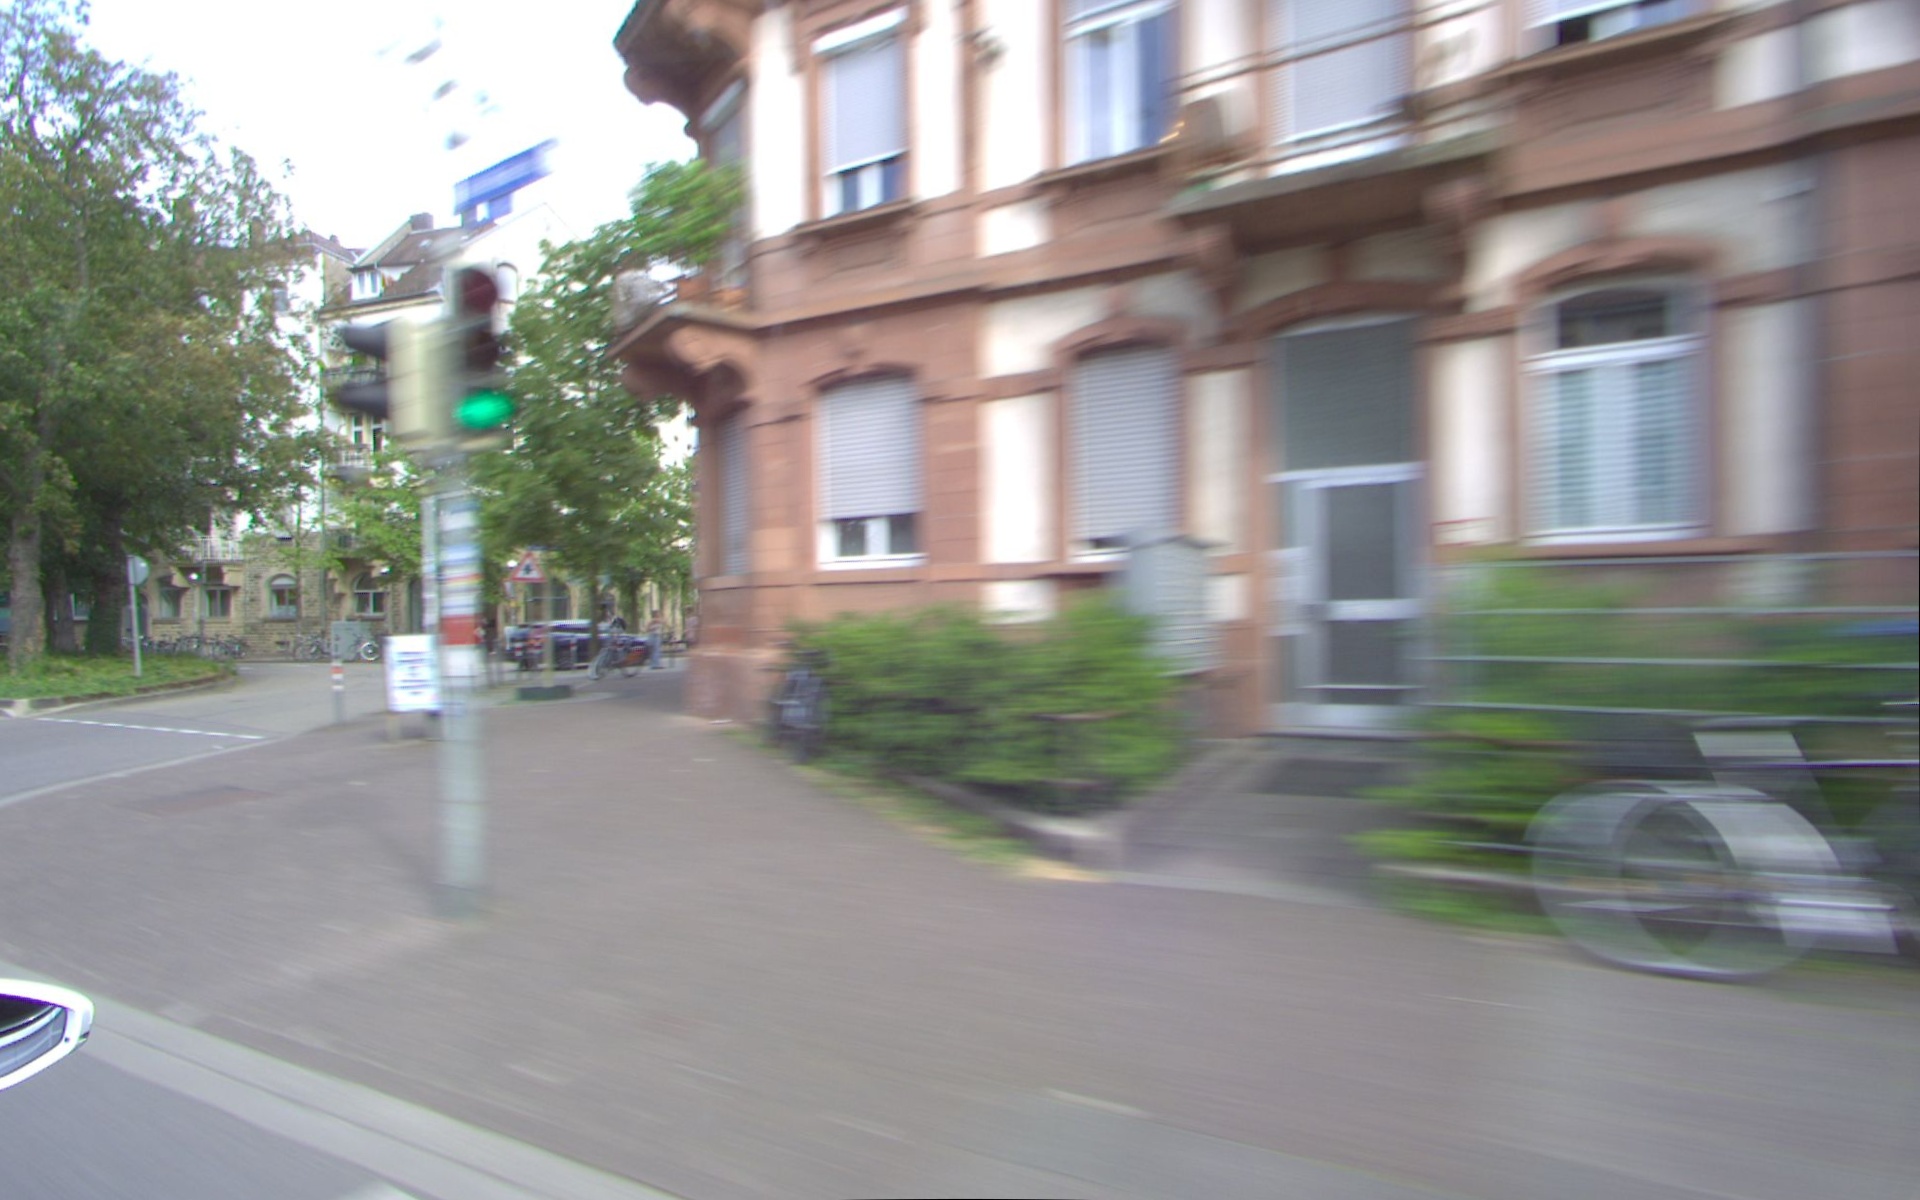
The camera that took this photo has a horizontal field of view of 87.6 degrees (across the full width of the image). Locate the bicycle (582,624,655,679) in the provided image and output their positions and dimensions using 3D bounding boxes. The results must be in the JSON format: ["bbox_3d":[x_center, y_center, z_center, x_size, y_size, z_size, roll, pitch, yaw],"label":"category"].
[{"bbox_3d":[-7.662,1.135,22.524,0.661,1.159,1.668,0,0,20],"label":"bicycle"}]

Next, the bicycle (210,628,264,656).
[{"bbox_3d":[-31.046,1.796,43.027,0.524,1.142,1.887,0,0,25],"label":"bicycle"}]

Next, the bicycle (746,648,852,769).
[{"bbox_3d":[-1.540,0.969,9.391,0.502,0.982,1.543,-1,0,-28],"label":"bicycle"}]

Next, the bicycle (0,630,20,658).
[{"bbox_3d":[-41.358,1.897,43.038,0.656,1.142,1.889,-1,0,-19],"label":"bicycle"}]

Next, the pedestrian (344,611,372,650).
[{"bbox_3d":[-26.670,1.350,44.376,0.821,1.698,0.731,0,0,22],"label":"pedestrian"}]

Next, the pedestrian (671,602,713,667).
[{"bbox_3d":[-7.448,0.940,27.837,0.882,1.752,0.751,-2,2,-38],"label":"pedestrian"}]

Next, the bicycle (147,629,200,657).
[{"bbox_3d":[-34.246,1.856,43.623,0.571,1.142,1.892,-1,0,12],"label":"bicycle"}]

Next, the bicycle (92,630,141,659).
[{"bbox_3d":[-36.827,1.918,43.743,0.522,1.143,1.893,-1,1,-2],"label":"bicycle"}]

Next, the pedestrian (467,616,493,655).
[{"bbox_3d":[-20.720,1.538,43.227,0.826,1.644,0.726,-1,0,-42],"label":"pedestrian"}]

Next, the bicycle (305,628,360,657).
[{"bbox_3d":[-26.005,1.750,41.507,0.525,1.142,1.883,0,0,34],"label":"bicycle"}]

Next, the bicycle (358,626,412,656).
[{"bbox_3d":[-23.193,1.650,40.408,0.525,1.142,1.885,0,0,30],"label":"bicycle"}]

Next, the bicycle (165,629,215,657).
[{"bbox_3d":[-33.448,1.850,43.525,0.583,1.142,1.893,-1,-1,6],"label":"bicycle"}]

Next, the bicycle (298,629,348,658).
[{"bbox_3d":[-26.728,1.800,42.040,0.523,1.142,1.891,0,0,17],"label":"bicycle"}]

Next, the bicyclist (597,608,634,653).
[{"bbox_3d":[-12.710,1.114,36.907,1.127,1.627,0.641,-1,0,-40],"label":"bicyclist"}]

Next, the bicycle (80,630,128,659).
[{"bbox_3d":[-37.368,1.929,43.748,0.522,1.143,1.893,-1,0,-2],"label":"bicycle"}]

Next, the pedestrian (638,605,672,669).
[{"bbox_3d":[-8.669,1.031,28.442,0.722,1.752,0.889,-2,2,-29],"label":"pedestrian"}]

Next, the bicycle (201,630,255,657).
[{"bbox_3d":[-31.588,1.866,43.235,0.524,1.142,1.887,0,0,25],"label":"bicycle"}]

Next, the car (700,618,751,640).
[{"bbox_3d":[-15.890,1.954,67.789,1.753,1.413,3.967,0,-1,-40],"label":"car"}]

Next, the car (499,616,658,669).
[{"bbox_3d":[-11.413,1.233,30.283,1.730,1.460,4.462,-1,-1,27],"label":"car"}]

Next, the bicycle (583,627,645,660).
[{"bbox_3d":[-12.734,1.587,36.894,2.080,1.167,0.649,0,0,-41],"label":"bicycle"}]

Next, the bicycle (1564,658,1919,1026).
[{"bbox_3d":[3.099,0.792,3.513,1.646,1.121,0.670,-1,0,29],"label":"bicycle"}]
